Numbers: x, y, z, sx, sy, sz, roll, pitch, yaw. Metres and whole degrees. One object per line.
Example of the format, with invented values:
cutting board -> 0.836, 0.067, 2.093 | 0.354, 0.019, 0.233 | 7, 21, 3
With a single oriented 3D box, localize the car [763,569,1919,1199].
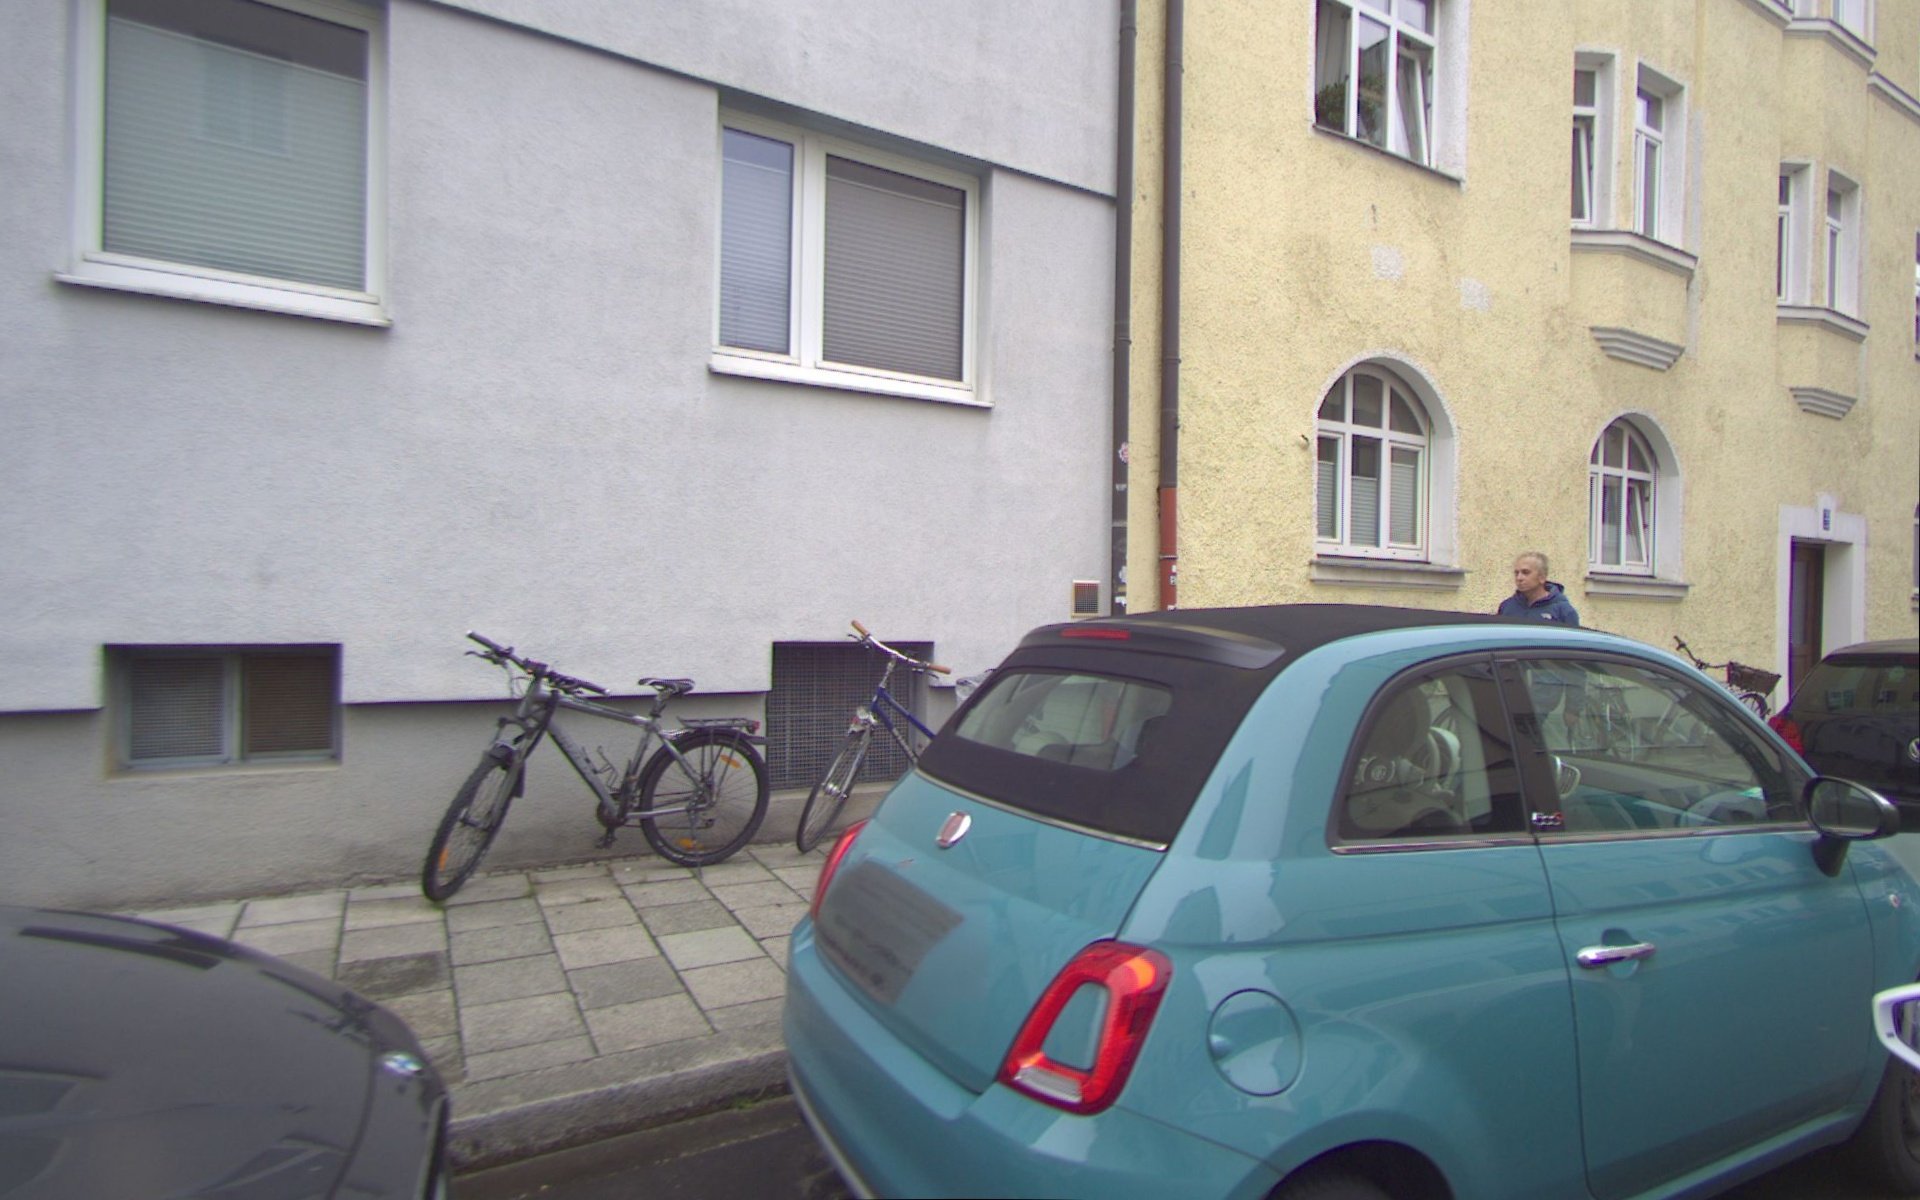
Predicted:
car -> 1.325, 0.752, 2.789 | 3.362, 1.479, 1.556 | 2, -1, -28

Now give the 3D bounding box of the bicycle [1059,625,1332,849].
bicycle -> 1.529, 0.815, 6.431 | 1.716, 1.250, 0.633 | 2, 0, -31

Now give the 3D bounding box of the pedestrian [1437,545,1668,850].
pedestrian -> 3.818, 0.575, 6.492 | 1.055, 1.788, 0.835 | 1, 1, -30

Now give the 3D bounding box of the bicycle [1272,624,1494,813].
bicycle -> 3.158, 0.831, 7.454 | 1.717, 1.250, 0.590 | 2, 0, -31

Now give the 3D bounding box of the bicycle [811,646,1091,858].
bicycle -> -0.020, 0.797, 5.615 | 1.552, 1.044, 0.393 | 2, 0, -31

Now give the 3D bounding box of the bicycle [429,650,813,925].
bicycle -> -1.509, 0.771, 4.560 | 1.552, 1.044, 0.542 | 2, 0, -31

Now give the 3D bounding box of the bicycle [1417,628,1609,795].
bicycle -> 4.633, 0.887, 8.385 | 1.717, 1.250, 0.590 | 2, 0, -31

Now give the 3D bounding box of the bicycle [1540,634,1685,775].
bicycle -> 6.082, 0.941, 9.341 | 1.614, 1.206, 0.437 | 2, 0, -31

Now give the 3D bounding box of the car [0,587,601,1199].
car -> -2.574, 0.694, 0.579 | 4.203, 1.404, 1.802 | 1, -2, -32

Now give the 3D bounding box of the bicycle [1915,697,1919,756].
bicycle -> 13.706, 1.490, 13.703 | 1.534, 1.296, 0.532 | 2, 2, -32

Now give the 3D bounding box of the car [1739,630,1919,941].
car -> 6.227, 0.947, 5.780 | 3.721, 1.479, 1.555 | 2, -1, -32

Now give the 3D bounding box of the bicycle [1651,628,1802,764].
bicycle -> 7.733, 0.933, 10.112 | 1.717, 1.250, 0.590 | 2, 0, -31
